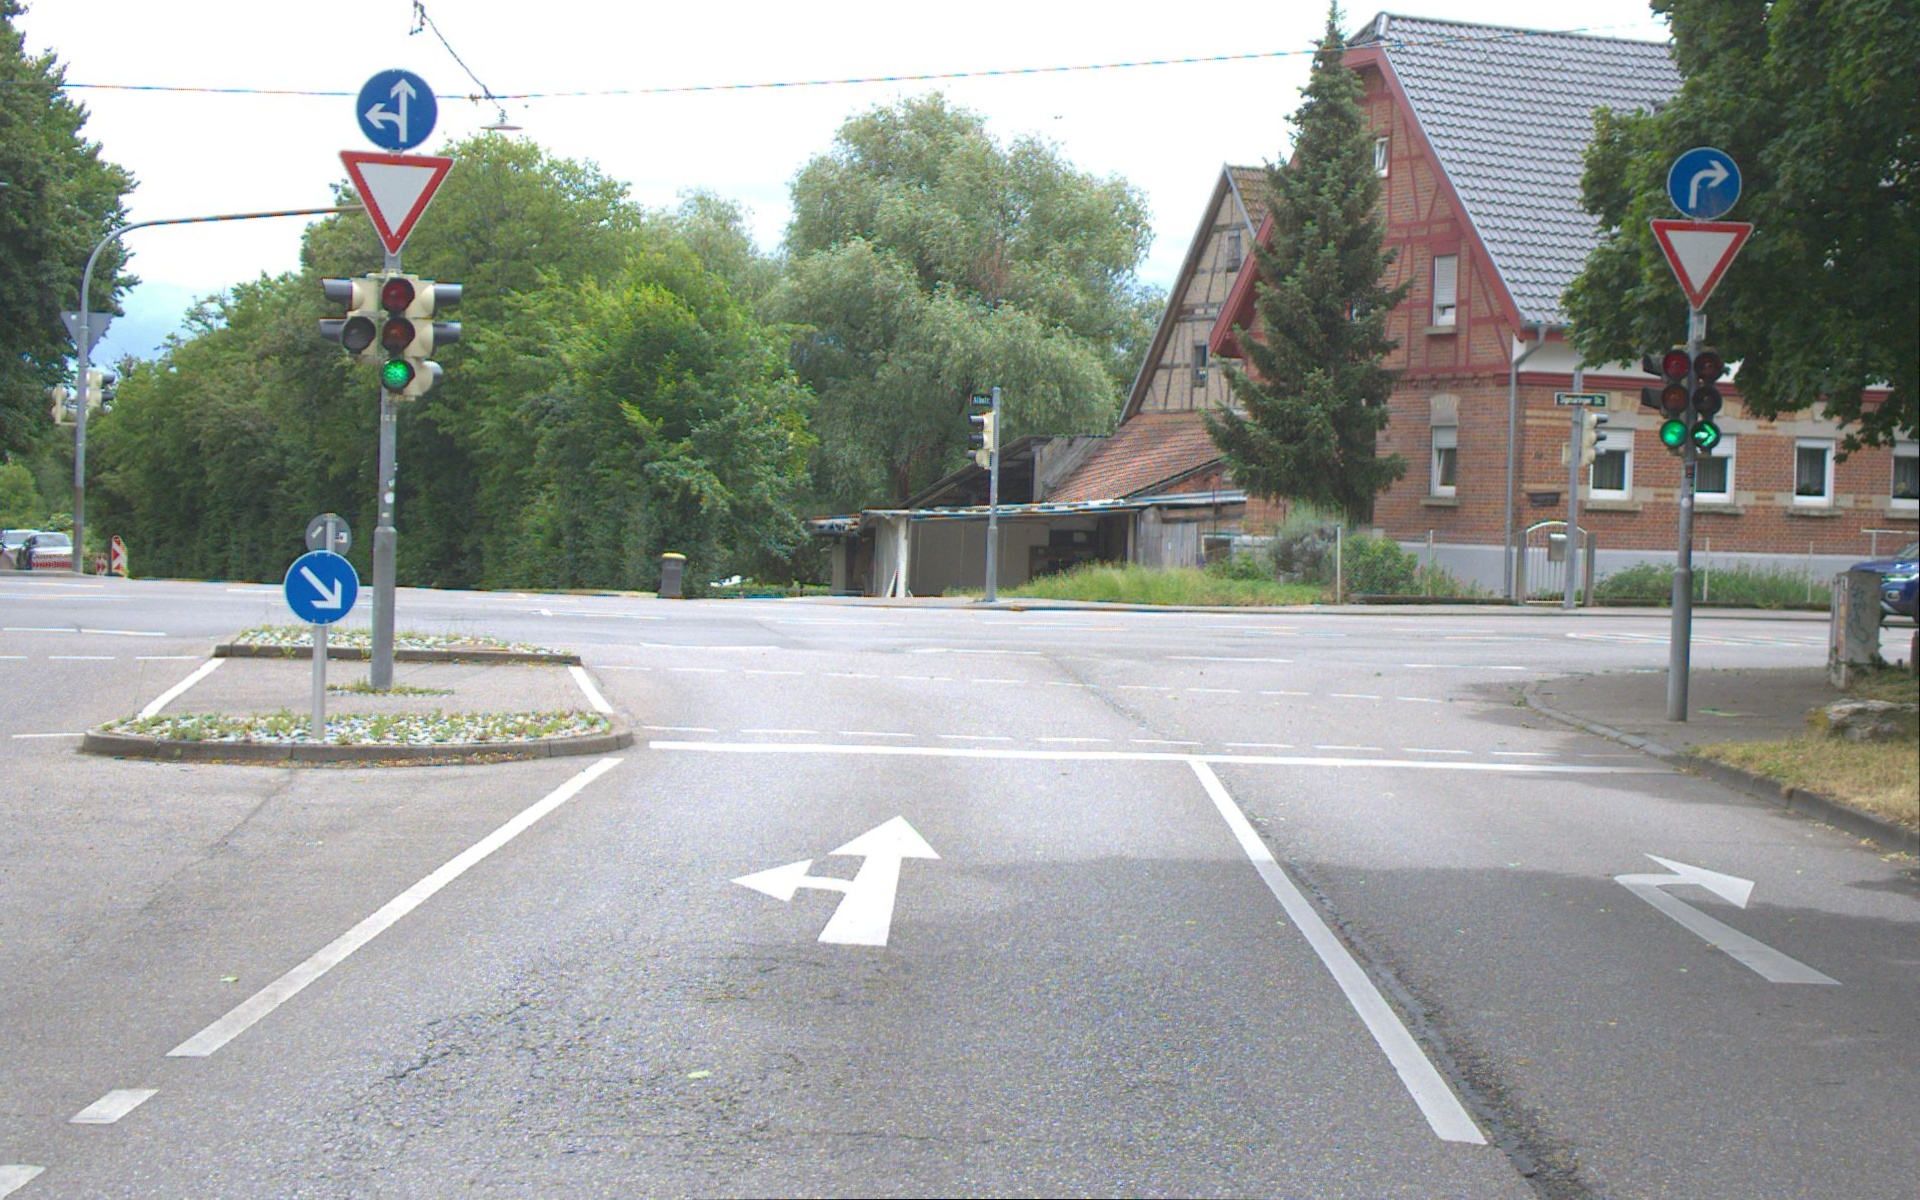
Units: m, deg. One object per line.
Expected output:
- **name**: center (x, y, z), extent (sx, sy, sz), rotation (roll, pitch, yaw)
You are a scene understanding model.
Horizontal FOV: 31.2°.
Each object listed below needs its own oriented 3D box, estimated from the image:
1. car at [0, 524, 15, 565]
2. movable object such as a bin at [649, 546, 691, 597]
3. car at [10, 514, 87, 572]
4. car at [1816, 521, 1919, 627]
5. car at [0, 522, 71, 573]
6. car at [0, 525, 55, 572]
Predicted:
- **car**: center (-34.175, -1.967, 120.510), extent (1.793, 1.405, 4.001), rotation (1, 1, -18)
- **movable object such as a bin**: center (-5.772, -0.561, 68.418), extent (0.632, 0.998, 0.584), rotation (2, -1, -27)
- **car**: center (-25.146, -1.588, 94.788), extent (1.793, 1.507, 4.001), rotation (1, 1, -18)
- **car**: center (15.977, -0.400, 55.126), extent (3.844, 1.641, 2.001), rotation (1, 1, -19)
- **car**: center (-27.171, -1.549, 100.944), extent (1.793, 1.405, 4.001), rotation (1, 1, -18)
- **car**: center (-29.697, -1.634, 108.786), extent (1.793, 1.405, 4.001), rotation (1, 1, -18)
